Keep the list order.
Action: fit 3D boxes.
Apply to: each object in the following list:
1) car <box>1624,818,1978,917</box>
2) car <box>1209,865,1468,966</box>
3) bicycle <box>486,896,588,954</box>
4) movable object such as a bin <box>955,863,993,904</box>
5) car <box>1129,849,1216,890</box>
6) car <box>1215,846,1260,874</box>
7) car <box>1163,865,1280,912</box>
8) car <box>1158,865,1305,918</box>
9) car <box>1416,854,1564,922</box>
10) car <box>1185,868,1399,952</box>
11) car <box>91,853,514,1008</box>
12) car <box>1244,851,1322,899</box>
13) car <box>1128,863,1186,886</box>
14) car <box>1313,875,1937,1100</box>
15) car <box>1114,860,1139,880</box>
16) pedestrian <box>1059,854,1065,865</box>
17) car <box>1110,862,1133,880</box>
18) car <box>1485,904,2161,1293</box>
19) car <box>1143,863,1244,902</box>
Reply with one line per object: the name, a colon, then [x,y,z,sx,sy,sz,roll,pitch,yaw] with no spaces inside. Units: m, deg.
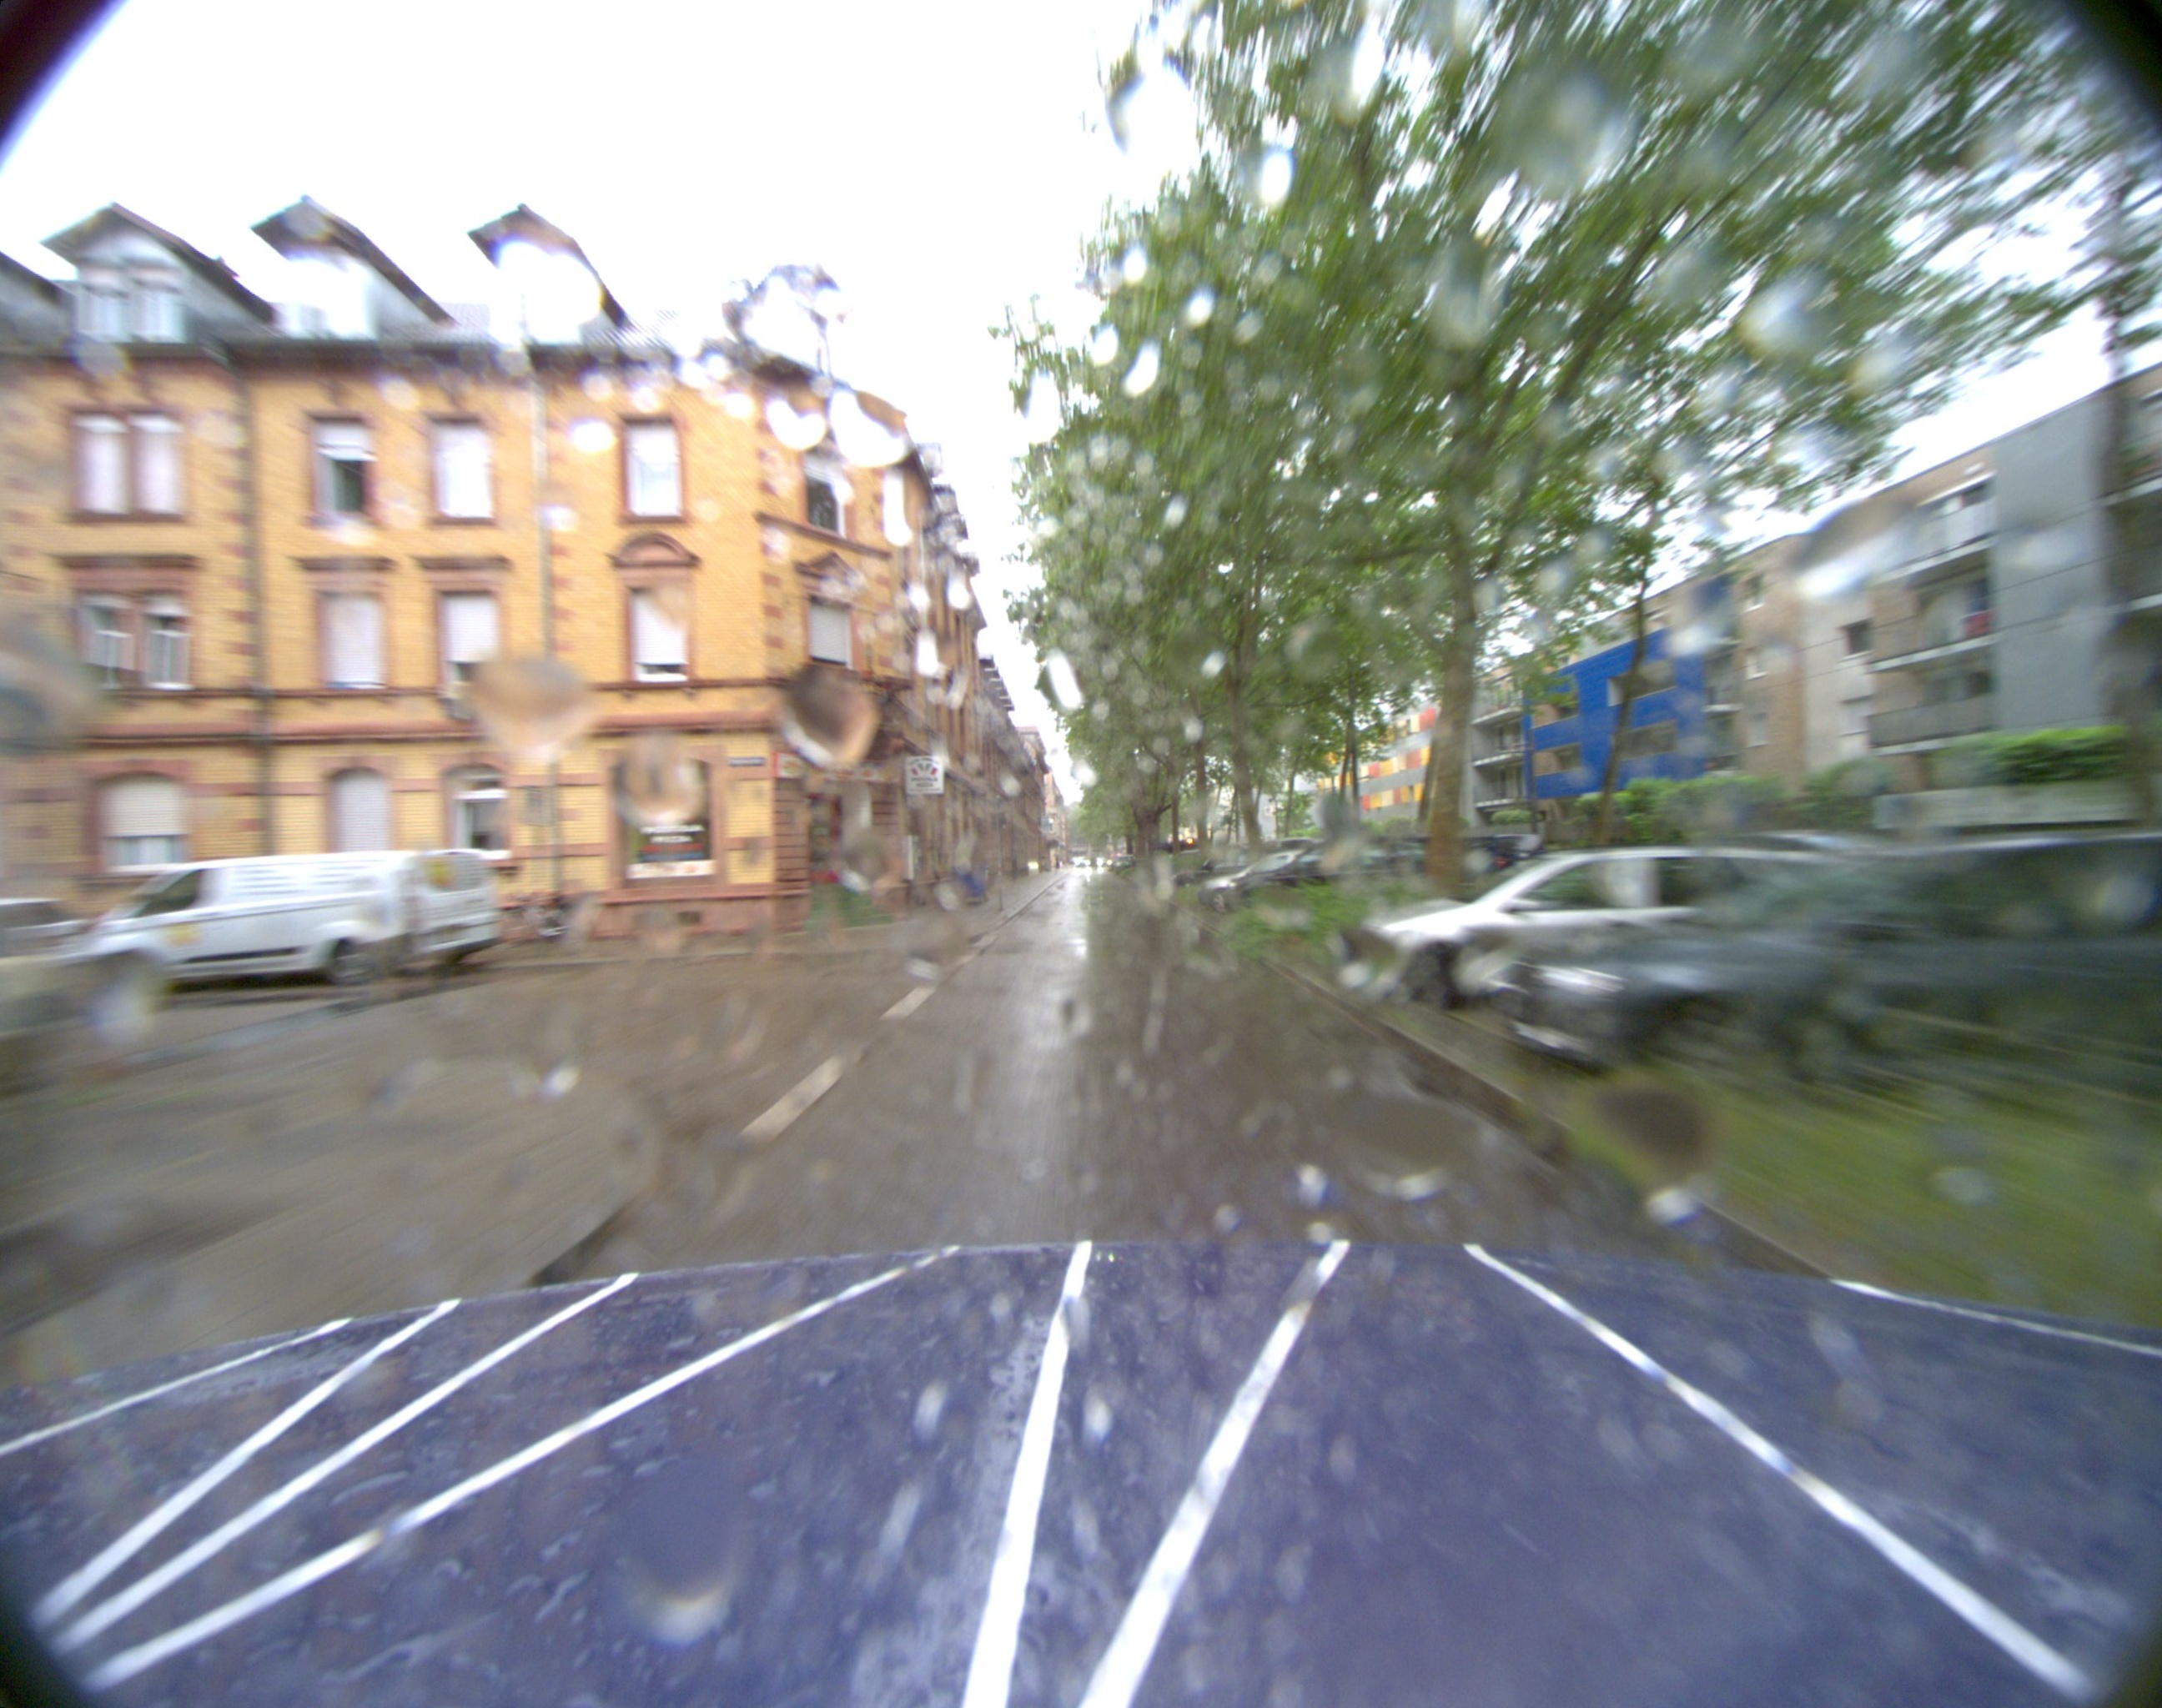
car: [12.080,0.227,13.253,1.999,1.381,4.257,-2,-1,-3]
car: [4.908,1.104,14.575,4.407,1.650,1.933,-2,0,28]
bicycle: [-10.320,1.341,14.438,1.542,1.001,0.434,-2,0,-5]
movable object such as a bin: [-3.484,0.943,24.846,1.024,1.294,1.367,1,-1,0]
car: [5.439,0.941,45.127,4.648,2.269,2.015,-2,0,30]
car: [12.468,0.469,60.831,2.059,1.985,5.433,-4,0,-3]
car: [4.989,1.236,27.079,3.644,1.470,1.747,-3,-1,31]
car: [4.777,1.201,24.202,4.220,1.470,1.747,-3,-1,28]
car: [11.988,0.934,22.650,1.909,1.730,4.421,-3,0,-1]
car: [4.811,1.184,17.533,4.406,1.636,1.875,0,1,32]
car: [-11.711,1.075,11.743,4.240,1.933,1.932,-2,3,-3]
car: [9.384,0.928,35.790,2.043,1.988,5.158,-3,0,-2]
car: [5.214,1.400,52.093,3.494,1.427,1.785,-2,0,28]
car: [4.346,1.040,6.841,4.060,1.490,1.750,-3,-1,24]
car: [3.701,1.271,62.331,1.733,1.505,4.207,-4,0,0]
pedestrian: [-2.615,0.754,104.569,0.849,1.564,0.576,3,0,1]
car: [3.746,1.565,71.641,1.901,1.476,4.621,-4,0,0]
car: [4.563,1.050,3.906,4.306,1.428,1.750,-3,-1,27]
car: [5.039,1.281,34.179,4.056,1.528,1.838,-3,-1,26]
